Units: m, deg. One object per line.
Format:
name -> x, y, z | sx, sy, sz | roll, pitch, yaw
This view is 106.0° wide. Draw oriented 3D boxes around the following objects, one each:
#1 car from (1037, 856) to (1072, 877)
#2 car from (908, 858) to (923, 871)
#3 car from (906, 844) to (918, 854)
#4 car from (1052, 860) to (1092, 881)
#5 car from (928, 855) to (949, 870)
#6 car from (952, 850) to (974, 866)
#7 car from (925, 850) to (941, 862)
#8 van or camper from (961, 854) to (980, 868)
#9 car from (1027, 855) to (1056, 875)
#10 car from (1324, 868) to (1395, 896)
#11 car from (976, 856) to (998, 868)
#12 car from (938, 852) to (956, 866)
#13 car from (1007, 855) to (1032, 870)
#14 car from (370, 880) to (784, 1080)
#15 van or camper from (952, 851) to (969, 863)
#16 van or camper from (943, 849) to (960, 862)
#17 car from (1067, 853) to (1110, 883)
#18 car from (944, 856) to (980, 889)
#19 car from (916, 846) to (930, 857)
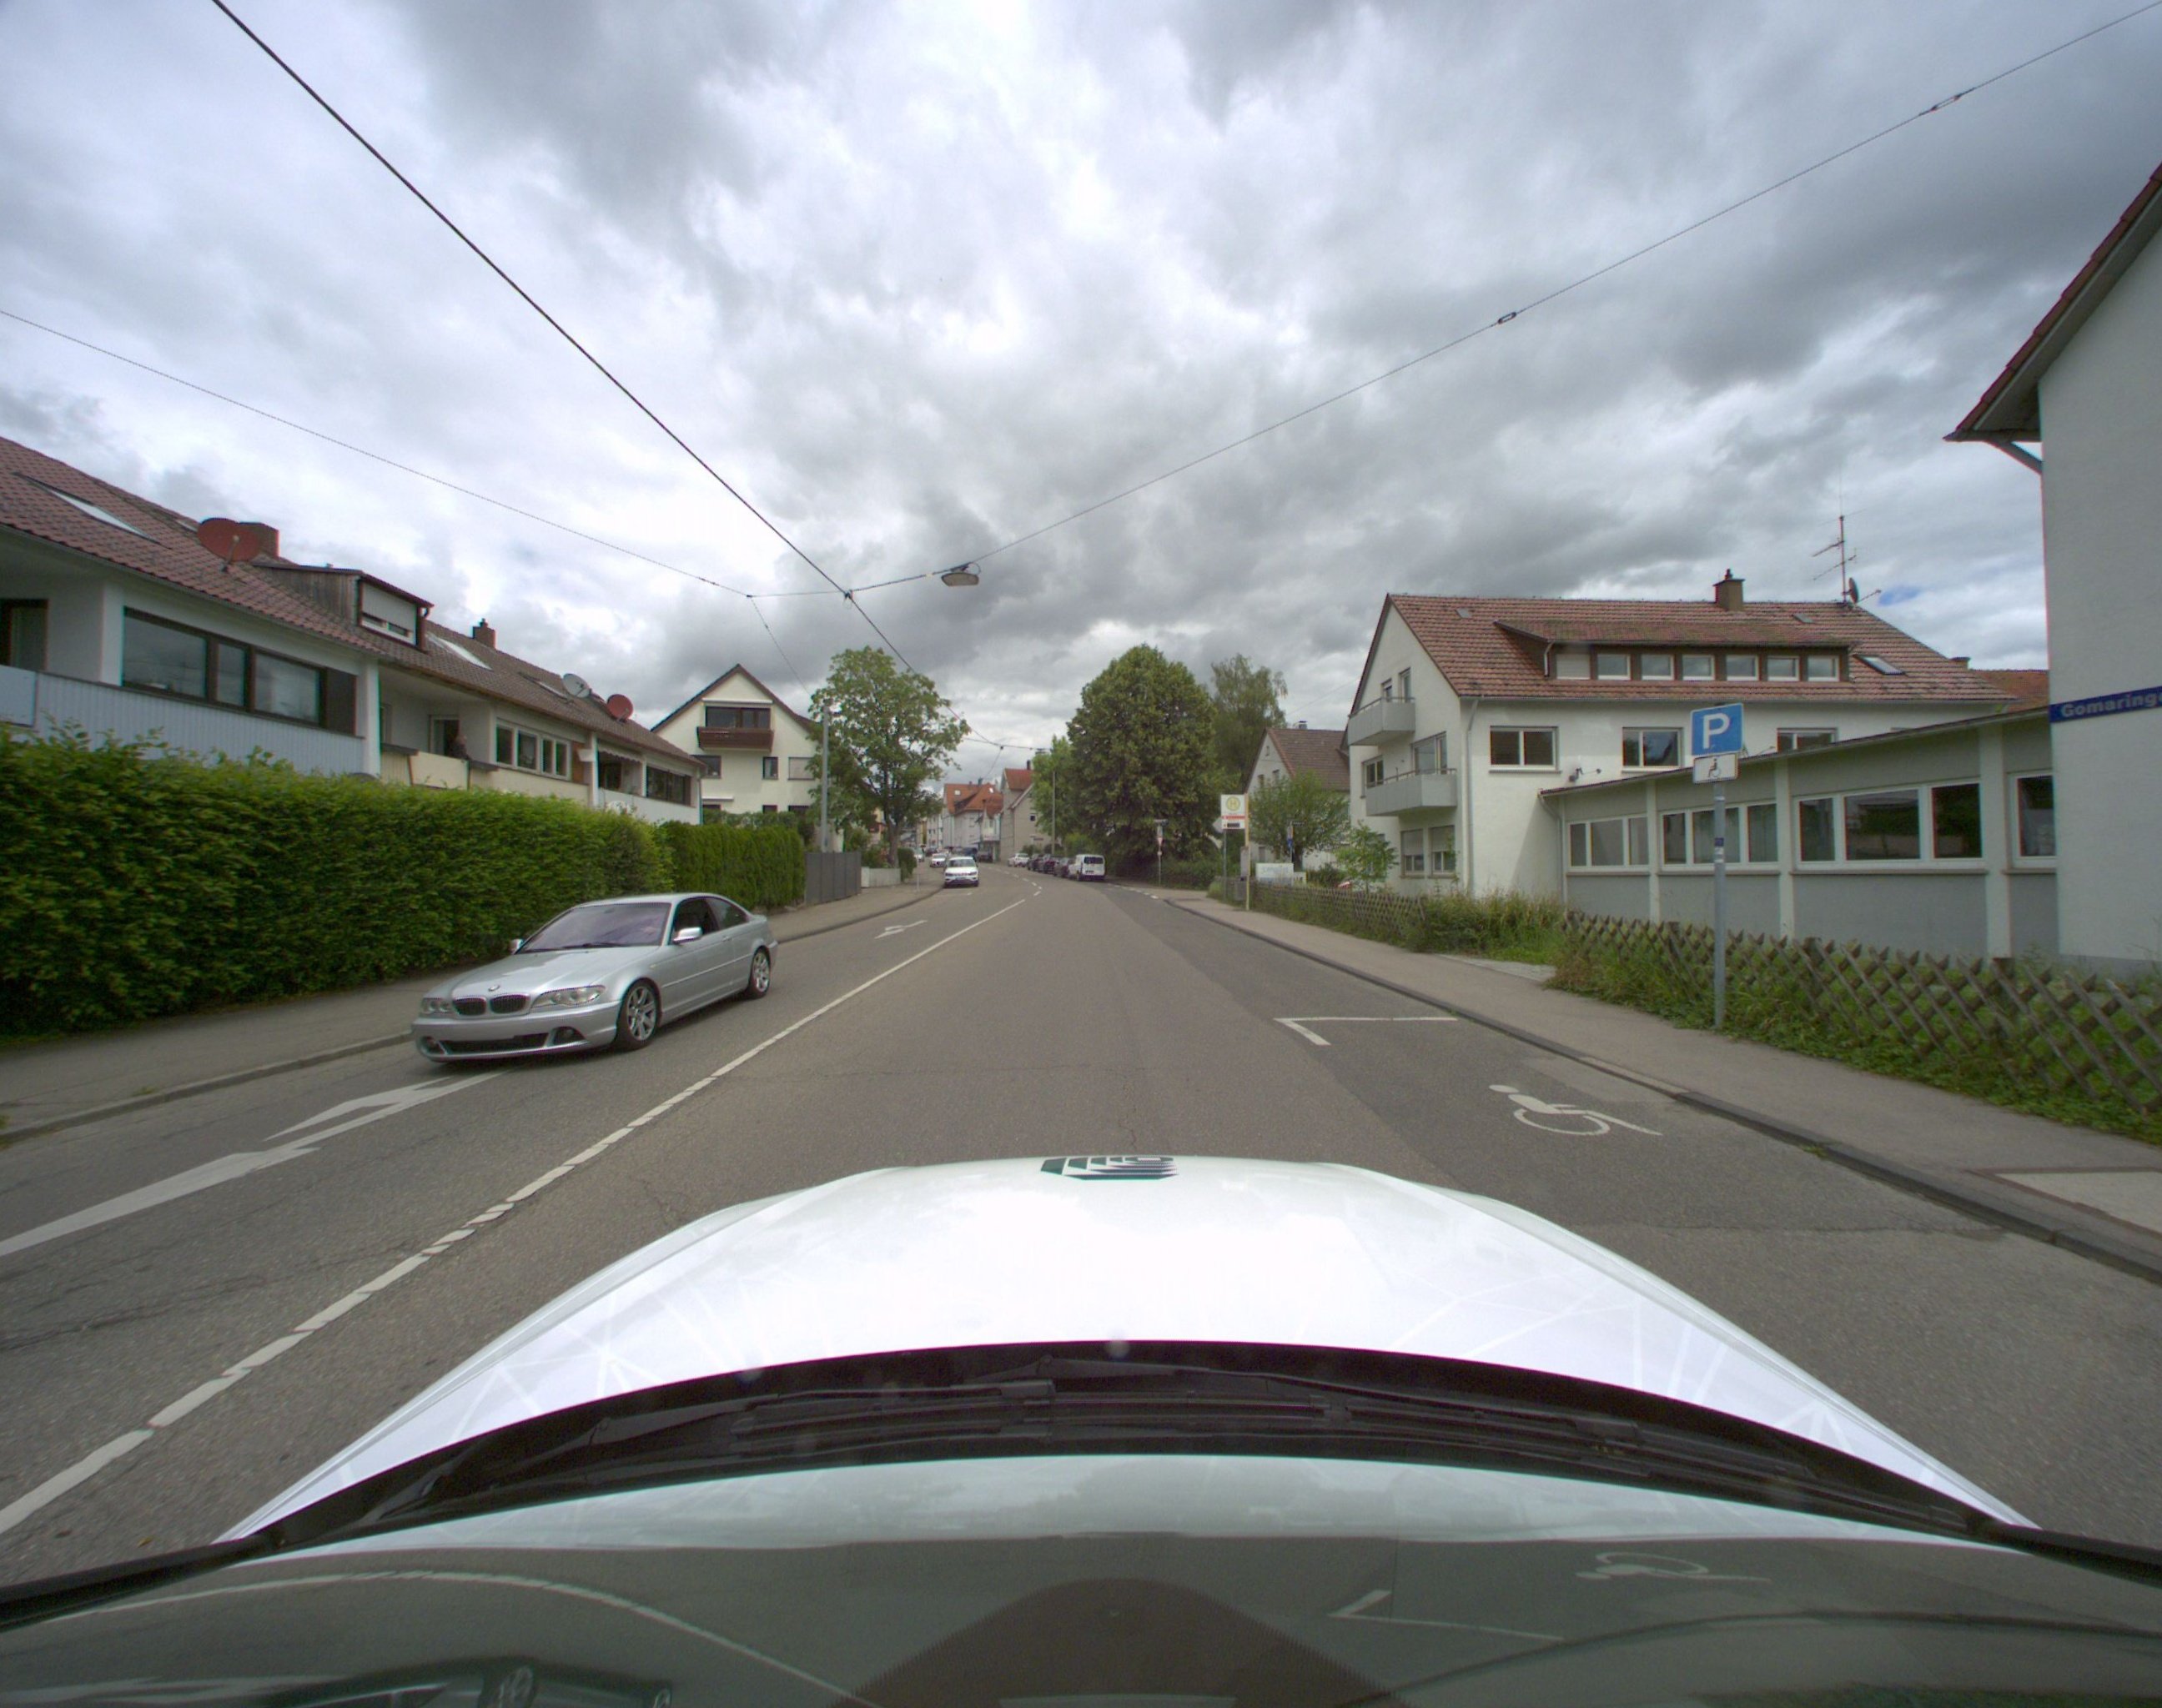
car -> -2.202, 0.969, 67.103 | 1.996, 1.615, 4.519 | 2, -1, -13
car -> -22.328, 1.353, 109.687 | 1.834, 1.578, 4.017 | -3, 1, -10
car -> -36.532, -1.007, 176.059 | 2.158, 2.014, 3.975 | 2, 0, -18
car -> -0.709, 1.166, 60.307 | 1.996, 1.478, 4.599 | 0, 0, -13
car -> -14.972, 0.885, 85.471 | 1.729, 1.458, 3.879 | -3, 1, -15
car -> -15.647, 0.484, 108.170 | 2.158, 2.014, 3.975 | 2, 0, -18
car -> -25.277, 0.354, 139.190 | 2.158, 2.014, 3.975 | 2, 0, -18
van or camper -> -16.180, 1.019, 119.402 | 1.932, 1.925, 4.801 | 1, 0, -18
car -> -3.587, 0.953, 72.759 | 1.813, 1.615, 4.519 | 2, -1, -13
car -> 16.519, 1.663, 48.387 | 3.705, 1.564, 1.678 | 2, -3, -16
car -> -12.584, 1.020, 108.628 | 1.999, 1.518, 4.862 | 2, 0, -18
car -> -20.384, 0.724, 123.645 | 2.158, 2.014, 3.975 | 2, 0, -18
car -> -6.374, 0.871, 84.217 | 1.942, 1.439, 3.983 | 1, 0, -12
car -> -4.739, 1.060, 8.499 | 1.708, 1.354, 4.081 | -5, -1, -1
van or camper -> -19.364, 0.420, 130.842 | 1.876, 1.829, 4.652 | 3, 0, -18
van or camper -> -21.990, 0.165, 138.002 | 1.998, 2.066, 5.910 | 3, 0, -17
car -> 0.450, 0.917, 55.223 | 1.840, 1.774, 4.296 | 3, 0, -14
car -> -6.657, 0.988, 45.959 | 1.848, 1.714, 4.563 | -1, 0, -7
car -> -30.813, -0.418, 158.662 | 2.158, 2.014, 3.975 | 2, 0, -18
